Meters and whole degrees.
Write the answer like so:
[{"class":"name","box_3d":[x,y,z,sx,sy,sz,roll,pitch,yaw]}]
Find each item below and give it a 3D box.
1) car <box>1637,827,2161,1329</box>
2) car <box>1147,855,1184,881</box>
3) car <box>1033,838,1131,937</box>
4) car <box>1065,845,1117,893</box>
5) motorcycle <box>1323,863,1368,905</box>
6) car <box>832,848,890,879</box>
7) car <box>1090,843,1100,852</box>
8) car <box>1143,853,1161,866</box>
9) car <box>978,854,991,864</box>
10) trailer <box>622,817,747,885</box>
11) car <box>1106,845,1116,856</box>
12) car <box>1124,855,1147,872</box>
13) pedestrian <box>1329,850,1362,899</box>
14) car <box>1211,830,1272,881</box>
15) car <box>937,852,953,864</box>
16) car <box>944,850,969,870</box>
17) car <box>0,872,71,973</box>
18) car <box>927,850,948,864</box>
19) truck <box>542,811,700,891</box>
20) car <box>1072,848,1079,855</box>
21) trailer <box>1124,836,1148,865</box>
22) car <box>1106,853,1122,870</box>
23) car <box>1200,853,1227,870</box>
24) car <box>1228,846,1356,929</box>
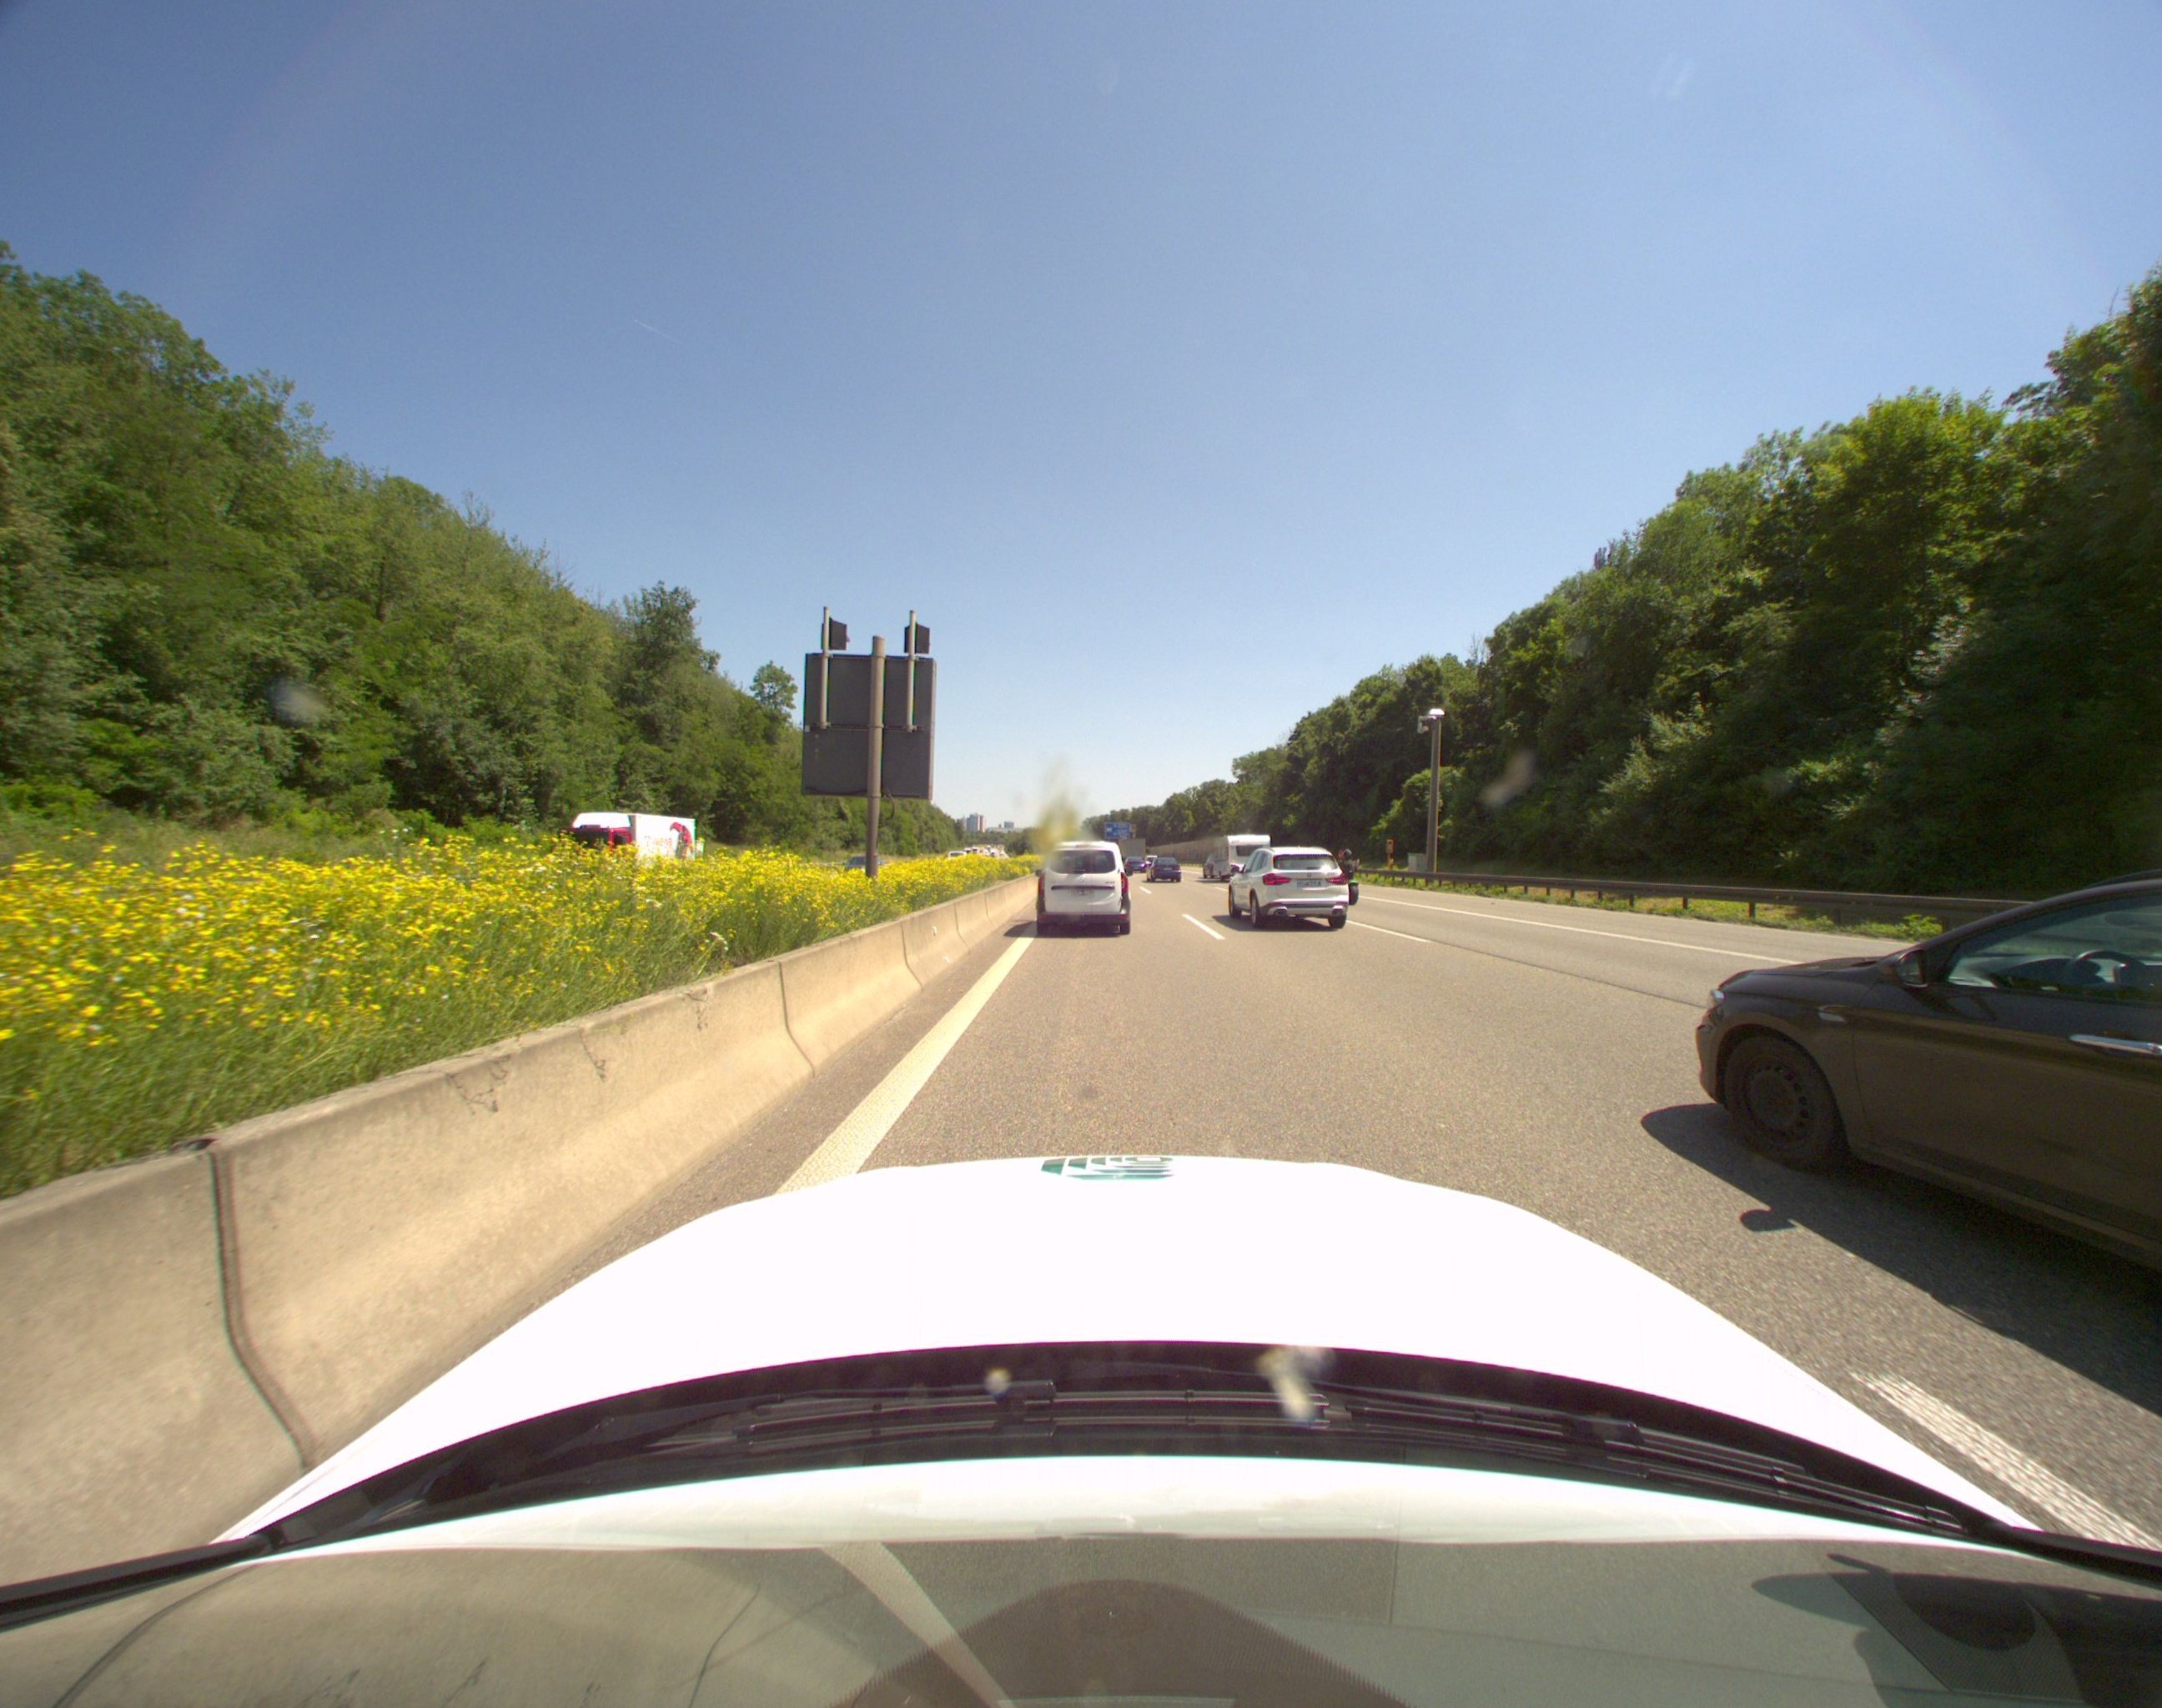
[{"class":"car","box_3d":[4.178,0.679,2.596,1.832,1.513,4.401,0,1,0]},{"class":"car","box_3d":[4.749,0.776,46.137,1.817,1.424,4.001,0,0,2]},{"class":"car","box_3d":[0.060,0.621,16.974,1.796,1.808,4.001,0,0,1]},{"class":"car","box_3d":[0.445,0.576,33.065,1.986,1.860,4.001,0,0,2]},{"class":"motorcycle","box_3d":[8.094,0.889,25.043,0.855,1.181,2.280,0,1,6]},{"class":"car","box_3d":[-11.292,0.490,42.105,1.836,1.519,3.870,0,0,2]},{"class":"car","box_3d":[3.023,-1.451,180.468,1.988,2.013,3.997,0,0,-2]},{"class":"car","box_3d":[8.175,0.638,93.992,1.817,1.424,4.001,0,0,2]},{"class":"car","box_3d":[-16.588,0.788,140.375,1.791,1.717,3.998,0,0,-1]},{"class":"trailer","box_3d":[-19.087,-0.124,39.774,2.398,3.005,7.459,0,0,0]},{"class":"car","box_3d":[6.083,-0.687,163.252,1.986,2.013,4.002,0,0,2]},{"class":"car","box_3d":[4.654,0.762,70.274,1.817,1.424,4.001,0,0,2]},{"class":"pedestrian","box_3d":[8.080,0.625,24.906,0.847,1.478,0.639,0,0,6]},{"class":"car","box_3d":[9.084,0.080,46.690,2.469,2.766,6.222,0,0,2]},{"class":"car","box_3d":[-20.496,0.631,123.006,1.989,1.761,3.996,0,0,-3]},{"class":"car","box_3d":[-12.777,0.646,83.731,1.987,2.013,3.999,0,0,0]},{"class":"car","box_3d":[-16.576,1.006,10.844,1.781,1.454,3.543,0,0,2]},{"class":"car","box_3d":[-17.816,0.385,101.294,1.988,1.755,3.998,0,0,-1]},{"class":"truck","box_3d":[-19.141,-0.117,34.510,2.398,3.005,7.459,0,0,0]},{"class":"car","box_3d":[-1.711,-0.809,257.542,1.986,2.013,4.002,0,0,2]},{"class":"trailer","box_3d":[7.769,-0.519,116.046,3.070,3.985,10.327,0,0,2]},{"class":"car","box_3d":[3.776,0.843,94.623,1.817,1.989,4.001,0,0,2]},{"class":"car","box_3d":[11.409,0.660,70.362,1.817,1.424,4.001,0,0,2]},{"class":"car","box_3d":[4.463,0.657,17.800,1.864,1.608,3.879,0,0,1]}]
